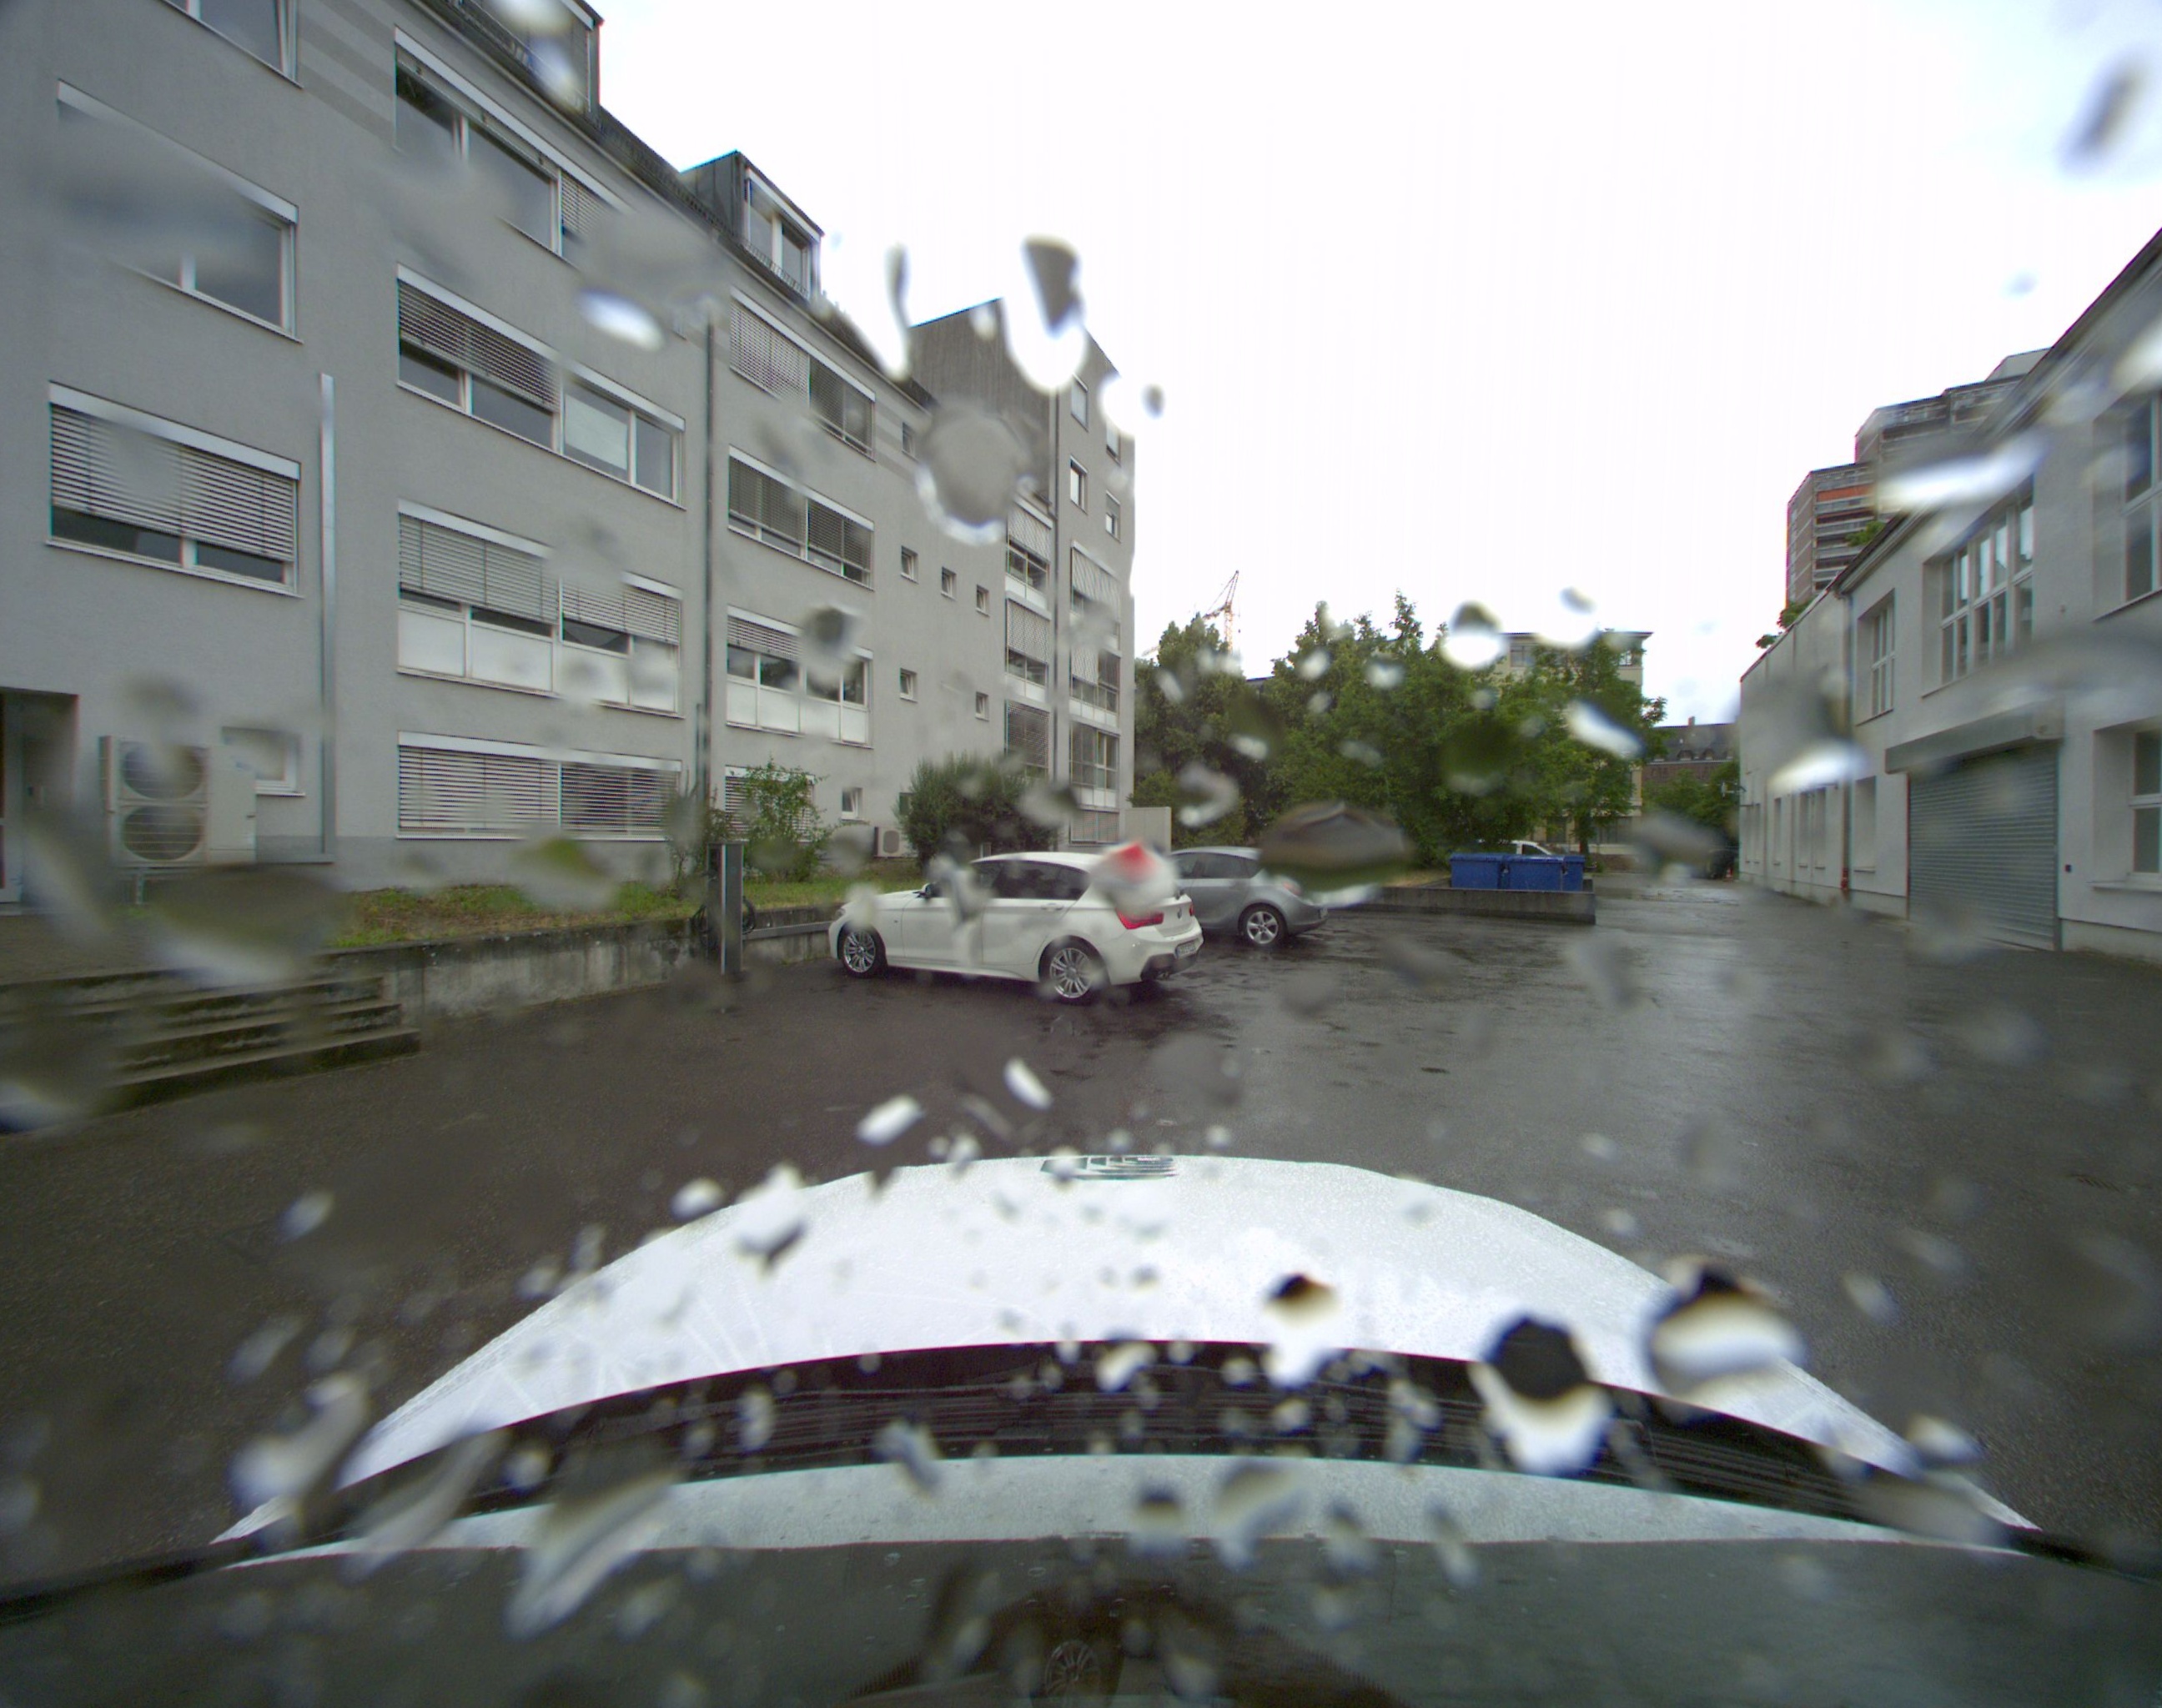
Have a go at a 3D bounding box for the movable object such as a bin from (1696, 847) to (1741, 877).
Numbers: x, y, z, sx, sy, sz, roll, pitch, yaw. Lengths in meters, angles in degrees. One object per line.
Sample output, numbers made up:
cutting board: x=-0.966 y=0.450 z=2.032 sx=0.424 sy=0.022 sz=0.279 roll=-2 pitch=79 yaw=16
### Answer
movable object such as a bin: x=31.318 y=0.397 z=40.047 sx=1.474 sy=1.448 sz=1.321 roll=-1 pitch=-2 yaw=27

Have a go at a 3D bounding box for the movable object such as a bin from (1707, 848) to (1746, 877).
movable object such as a bin: x=30.581 y=0.424 z=38.614 sx=1.173 sy=1.374 sz=1.321 roll=-1 pitch=-2 yaw=27

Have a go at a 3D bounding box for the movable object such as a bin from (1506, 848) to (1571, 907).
movable object such as a bin: x=11.172 y=0.578 z=19.850 sx=1.297 sy=1.358 sz=1.917 roll=-1 pitch=-2 yaw=31

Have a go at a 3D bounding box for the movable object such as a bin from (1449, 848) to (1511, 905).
movable object such as a bin: x=10.082 y=0.572 z=20.533 sx=1.217 sy=1.358 sz=1.983 roll=-1 pitch=-2 yaw=31

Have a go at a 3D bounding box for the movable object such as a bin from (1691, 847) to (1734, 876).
movable object such as a bin: x=31.948 y=0.402 z=41.249 sx=1.474 sy=1.448 sz=1.321 roll=-1 pitch=-2 yaw=27

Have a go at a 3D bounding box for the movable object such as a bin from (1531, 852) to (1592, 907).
movable object such as a bin: x=12.539 y=0.650 z=21.259 sx=1.297 sy=1.358 sz=1.917 roll=-1 pitch=-2 yaw=31

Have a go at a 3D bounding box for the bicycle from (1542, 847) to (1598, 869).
bicycle: x=27.662 y=0.217 z=46.129 sx=2.720 sy=1.186 sz=0.738 roll=0 pitch=1 yaw=2

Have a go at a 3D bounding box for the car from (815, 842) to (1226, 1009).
car: x=-0.704 y=0.626 z=9.173 sx=4.168 sy=1.489 sz=2.012 roll=0 pitch=0 yaw=28

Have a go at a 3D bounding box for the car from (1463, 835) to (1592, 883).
car: x=19.098 y=0.267 z=34.881 sx=4.637 sy=1.882 sz=2.136 roll=-1 pitch=-3 yaw=34

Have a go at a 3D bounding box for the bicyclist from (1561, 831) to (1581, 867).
bicyclist: x=27.744 y=-0.284 z=46.121 sx=0.704 sy=2.013 sz=0.747 roll=0 pitch=1 yaw=2

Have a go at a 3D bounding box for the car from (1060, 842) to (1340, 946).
car: x=1.971 y=0.564 z=13.594 sx=4.168 sy=1.489 sz=2.012 roll=0 pitch=0 yaw=28
